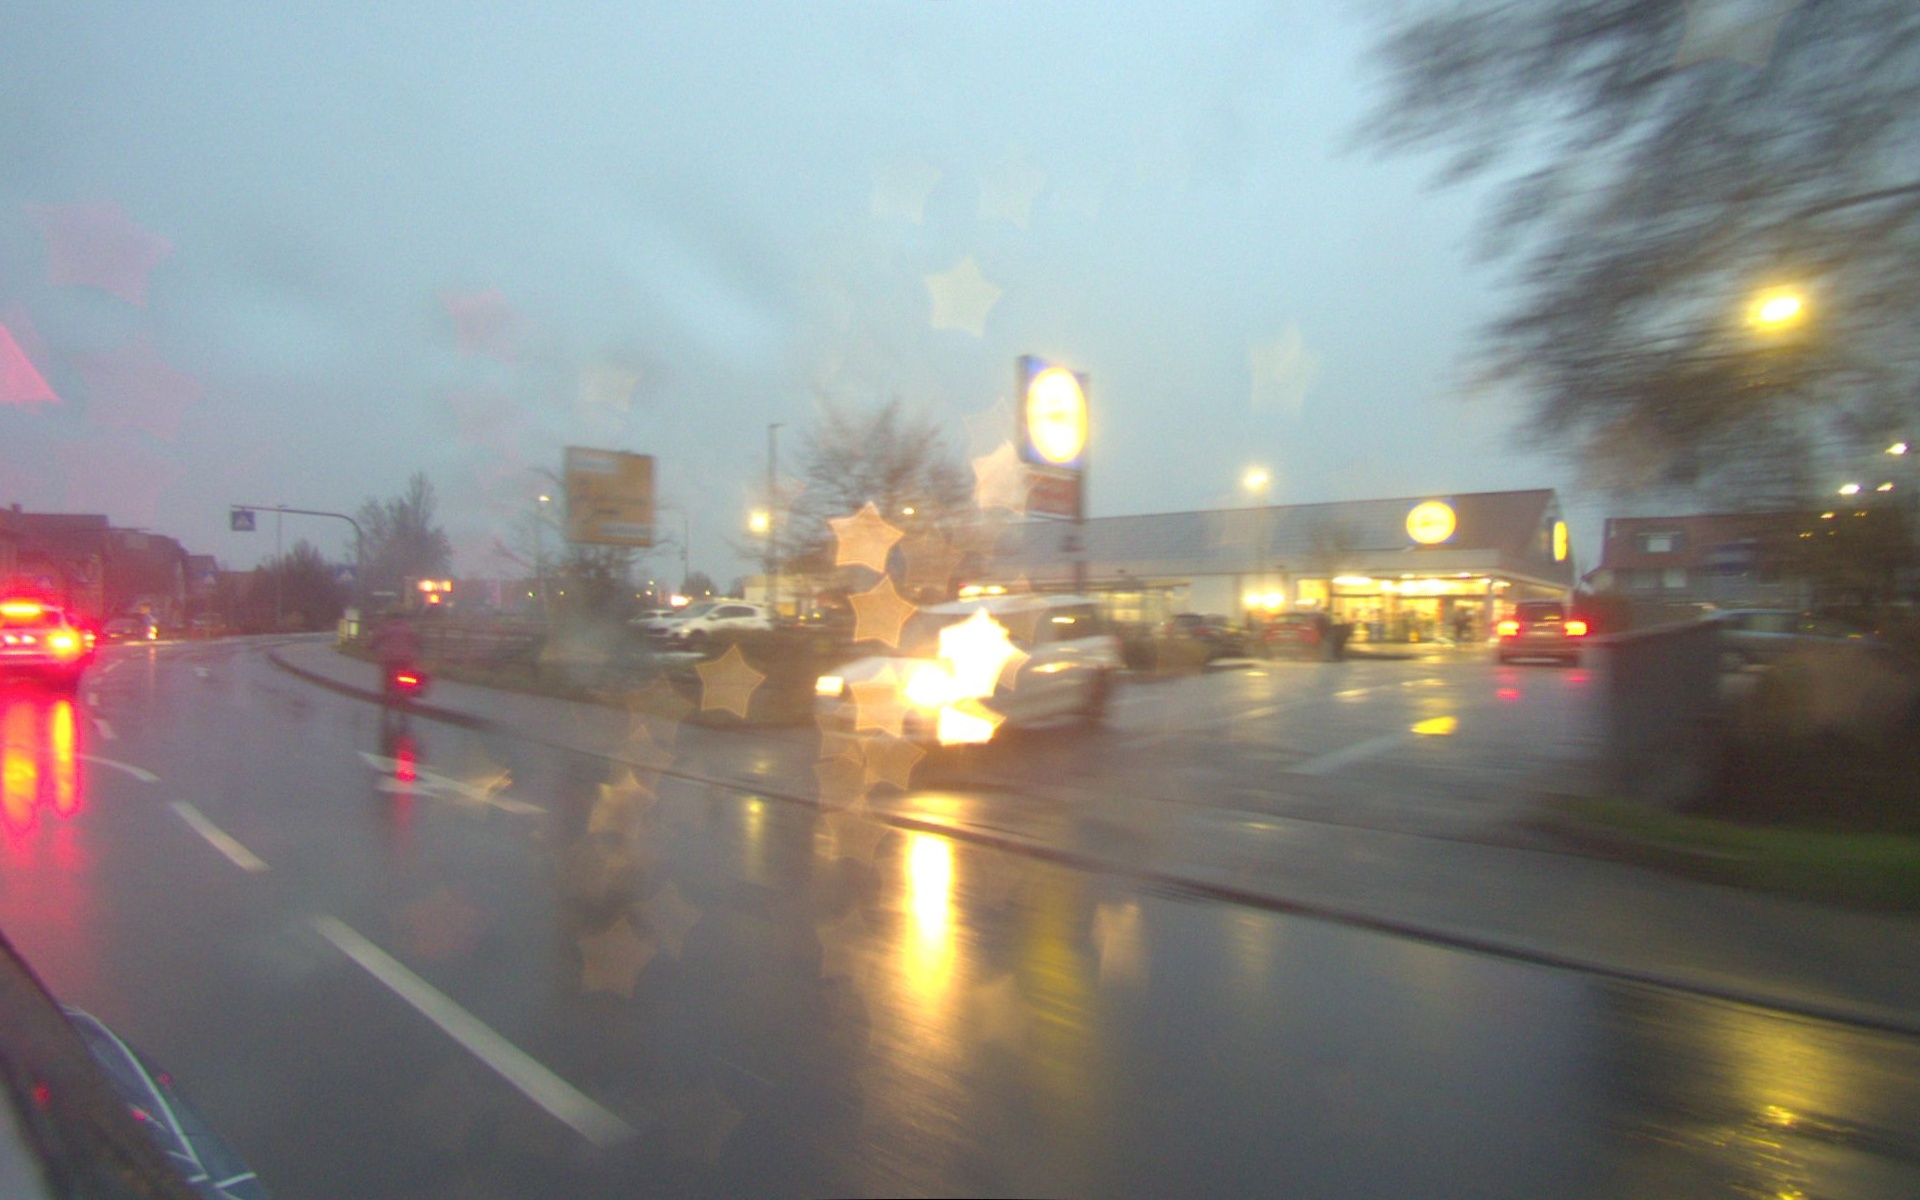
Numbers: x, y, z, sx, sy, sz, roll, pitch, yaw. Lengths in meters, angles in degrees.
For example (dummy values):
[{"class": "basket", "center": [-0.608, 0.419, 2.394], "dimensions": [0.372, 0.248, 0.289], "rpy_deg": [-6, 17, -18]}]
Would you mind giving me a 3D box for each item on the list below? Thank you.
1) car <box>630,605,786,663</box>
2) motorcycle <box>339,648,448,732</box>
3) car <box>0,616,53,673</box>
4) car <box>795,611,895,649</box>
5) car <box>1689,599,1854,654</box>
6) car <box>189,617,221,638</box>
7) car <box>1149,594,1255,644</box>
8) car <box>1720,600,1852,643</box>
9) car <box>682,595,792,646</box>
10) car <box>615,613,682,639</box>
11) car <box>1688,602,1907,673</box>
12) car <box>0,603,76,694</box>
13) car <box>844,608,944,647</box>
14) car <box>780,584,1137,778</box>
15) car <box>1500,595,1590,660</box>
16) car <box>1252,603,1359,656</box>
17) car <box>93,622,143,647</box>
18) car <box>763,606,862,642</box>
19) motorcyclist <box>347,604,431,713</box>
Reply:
[{"class": "car", "center": [-8.000, 1.058, 32.550], "dimensions": [2.028, 1.725, 4.730], "rpy_deg": [-1, -1, 34]}, {"class": "motorcycle", "center": [-8.175, 1.250, 14.568], "dimensions": [0.855, 1.031, 2.111], "rpy_deg": [0, 0, -44]}, {"class": "car", "center": [-26.874, 1.218, 28.394], "dimensions": [1.640, 1.497, 4.010], "rpy_deg": [0, -1, -35]}, {"class": "car", "center": [-5.017, 1.355, 44.729], "dimensions": [2.051, 1.575, 4.391], "rpy_deg": [-2, -3, 35]}, {"class": "car", "center": [26.802, 0.895, 33.626], "dimensions": [3.987, 1.629, 1.897], "rpy_deg": [-3, -1, 32]}, {"class": "car", "center": [-68.612, 2.511, 92.042], "dimensions": [1.916, 1.819, 4.185], "rpy_deg": [0, -1, -31]}, {"class": "car", "center": [8.315, 0.710, 34.465], "dimensions": [2.051, 1.575, 4.391], "rpy_deg": [-2, -3, 35]}, {"class": "car", "center": [34.426, 0.913, 42.329], "dimensions": [3.987, 1.629, 1.897], "rpy_deg": [-3, -1, 32]}, {"class": "car", "center": [-10.760, 1.057, 49.179], "dimensions": [2.213, 2.300, 5.140], "rpy_deg": [-2, -3, 35]}, {"class": "car", "center": [-19.711, 1.599, 63.969], "dimensions": [4.780, 1.548, 1.666], "rpy_deg": [0, -1, 39]}, {"class": "car", "center": [21.090, 0.965, 25.724], "dimensions": [3.987, 1.629, 1.897], "rpy_deg": [-3, -1, 32]}, {"class": "car", "center": [-19.661, 0.960, 21.075], "dimensions": [1.750, 1.736, 4.426], "rpy_deg": [0, -1, -43]}, {"class": "car", "center": [-2.779, 1.241, 43.549], "dimensions": [2.051, 1.575, 4.391], "rpy_deg": [-2, -3, 35]}, {"class": "car", "center": [0.166, 0.749, 11.742], "dimensions": [1.898, 1.712, 4.185], "rpy_deg": [-1, 2, 39]}, {"class": "car", "center": [16.344, 0.768, 28.461], "dimensions": [1.959, 1.684, 4.379], "rpy_deg": [-2, -2, 28]}, {"class": "car", "center": [11.046, 0.970, 32.180], "dimensions": [2.051, 1.575, 4.391], "rpy_deg": [-2, -3, 35]}, {"class": "car", "center": [-52.385, 2.133, 63.010], "dimensions": [1.747, 1.441, 3.808], "rpy_deg": [-1, -1, -30]}, {"class": "car", "center": [-6.716, 1.152, 46.525], "dimensions": [2.051, 1.575, 4.391], "rpy_deg": [-2, -3, 35]}, {"class": "motorcyclist", "center": [-8.287, 0.819, 14.680], "dimensions": [0.855, 1.496, 0.909], "rpy_deg": [0, 0, -44]}]
